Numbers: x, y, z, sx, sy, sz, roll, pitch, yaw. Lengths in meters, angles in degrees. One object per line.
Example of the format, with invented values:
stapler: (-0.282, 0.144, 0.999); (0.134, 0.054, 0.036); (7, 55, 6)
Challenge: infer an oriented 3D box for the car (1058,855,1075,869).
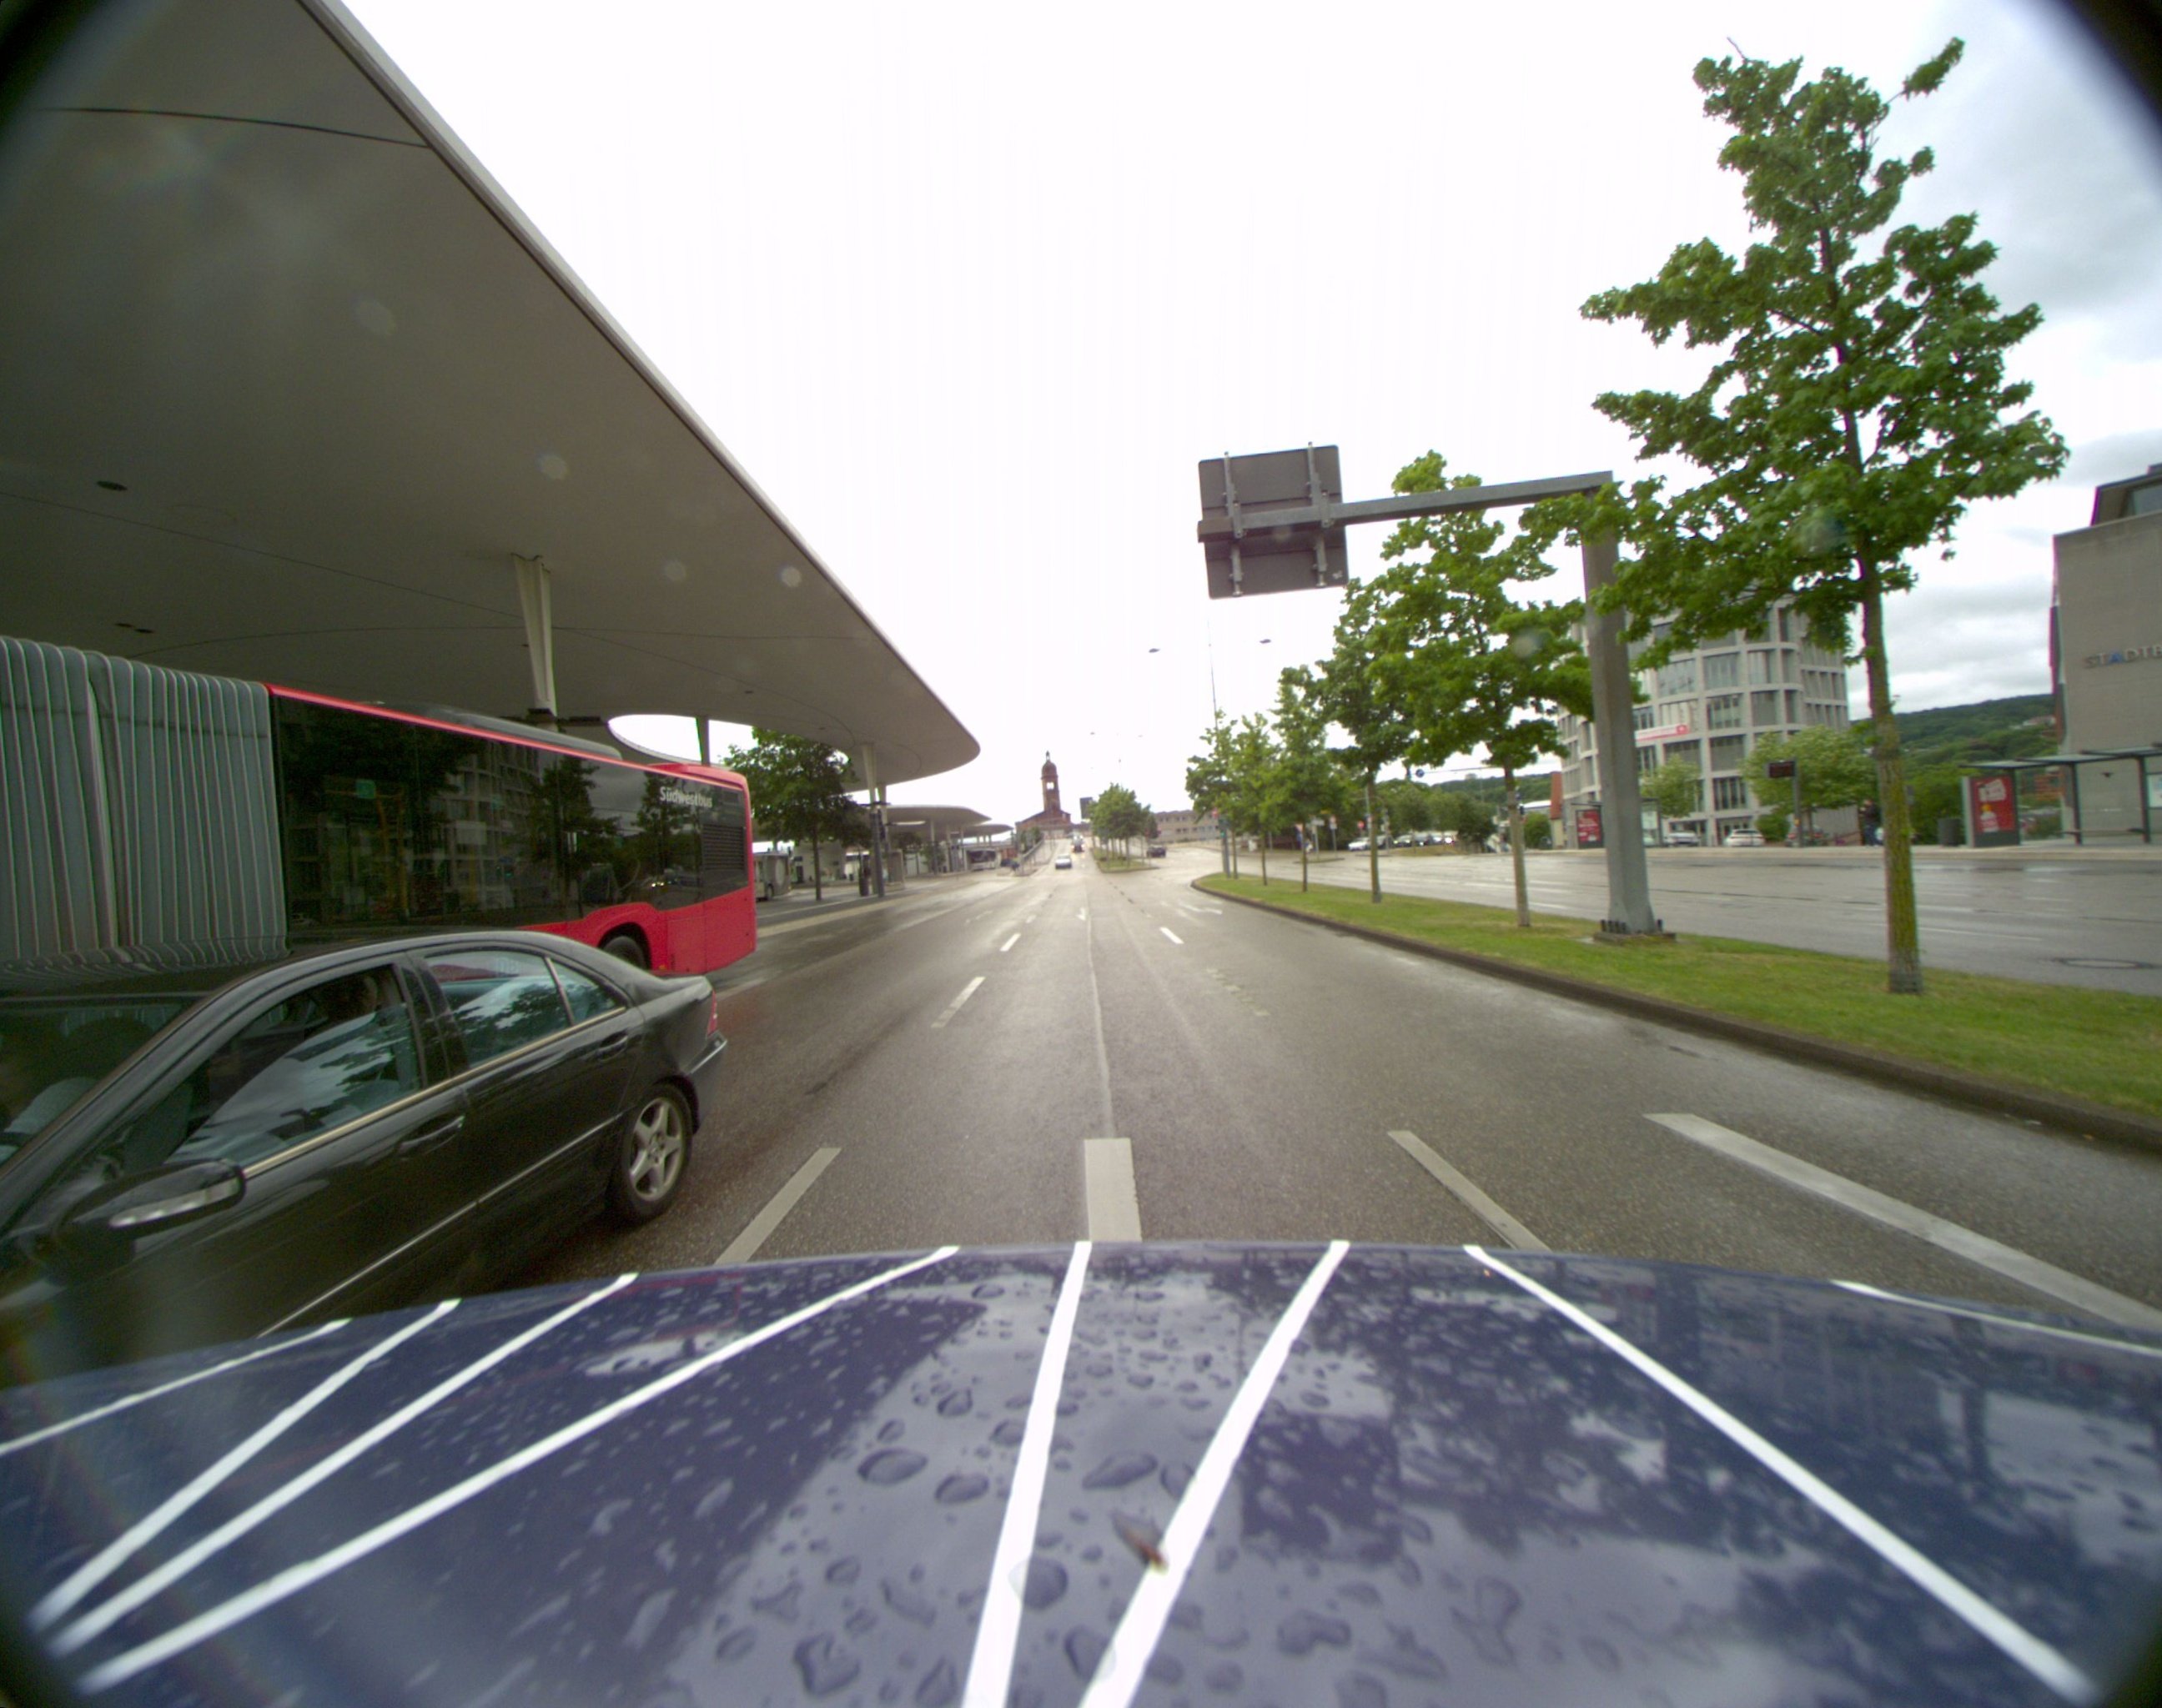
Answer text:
car: (-1.527, 0.831, 81.297); (1.627, 1.450, 3.735); (-3, 0, 0)

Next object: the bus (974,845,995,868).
bus: (-14.303, 0.311, 113.183); (2.675, 3.111, 9.712); (-3, 0, -5)

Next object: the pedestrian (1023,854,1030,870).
pedestrian: (-5.461, 0.805, 76.207); (0.557, 1.614, 0.552); (-3, 1, 1)

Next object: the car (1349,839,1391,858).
car: (30.789, -0.585, 80.916); (4.925, 1.702, 2.190); (-3, 1, -43)

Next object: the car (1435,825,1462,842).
car: (47.264, -2.609, 97.700); (1.994, 2.002, 4.008); (-2, 0, 44)

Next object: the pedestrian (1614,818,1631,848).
pedestrian: (30.053, -1.143, 42.164); (0.520, 1.625, 0.536); (-2, 1, 1)

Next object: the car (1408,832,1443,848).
car: (42.061, -1.759, 92.710); (4.925, 1.702, 2.190); (-3, 1, -43)

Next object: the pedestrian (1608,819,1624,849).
pedestrian: (29.504, -1.117, 41.930); (0.504, 1.625, 0.502); (-2, 1, 1)

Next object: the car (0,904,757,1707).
car: (-2.795, 1.103, 2.070); (1.750, 1.471, 4.435); (-4, 1, 1)

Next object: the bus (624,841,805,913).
bus: (-19.873, 1.061, 42.684); (3.002, 3.088, 12.357); (-8, 0, 4)

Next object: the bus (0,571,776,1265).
bus: (-6.153, 0.340, 7.514); (2.750, 3.155, 8.120); (-3, 0, 1)

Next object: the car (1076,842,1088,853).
car: (0.141, -1.004, 120.522); (1.704, 1.656, 3.998); (-2, 1, -2)

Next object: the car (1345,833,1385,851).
car: (32.291, -1.371, 86.239); (4.925, 1.702, 2.190); (-3, 1, -42)

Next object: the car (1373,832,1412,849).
car: (34.987, -1.502, 85.292); (4.925, 1.702, 2.190); (-3, 1, -43)

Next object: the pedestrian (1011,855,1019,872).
pedestrian: (-6.633, 0.935, 76.394); (0.576, 1.614, 0.588); (-3, 1, 1)

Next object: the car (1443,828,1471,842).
car: (51.057, -2.588, 103.241); (2.193, 1.702, 4.920); (-3, 0, 11)

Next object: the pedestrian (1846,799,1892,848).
pedestrian: (29.083, -1.124, 28.039); (0.787, 1.750, 0.972); (-3, 1, -28)

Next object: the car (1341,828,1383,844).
car: (39.705, -2.497, 107.392); (2.315, 2.002, 5.021); (-3, 1, -41)

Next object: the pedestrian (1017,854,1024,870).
pedestrian: (-6.059, 0.829, 76.349); (0.557, 1.614, 0.552); (-3, 1, 1)

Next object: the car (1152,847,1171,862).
car: (10.345, 0.038, 97.537); (1.998, 1.765, 4.000); (-3, 0, 1)
